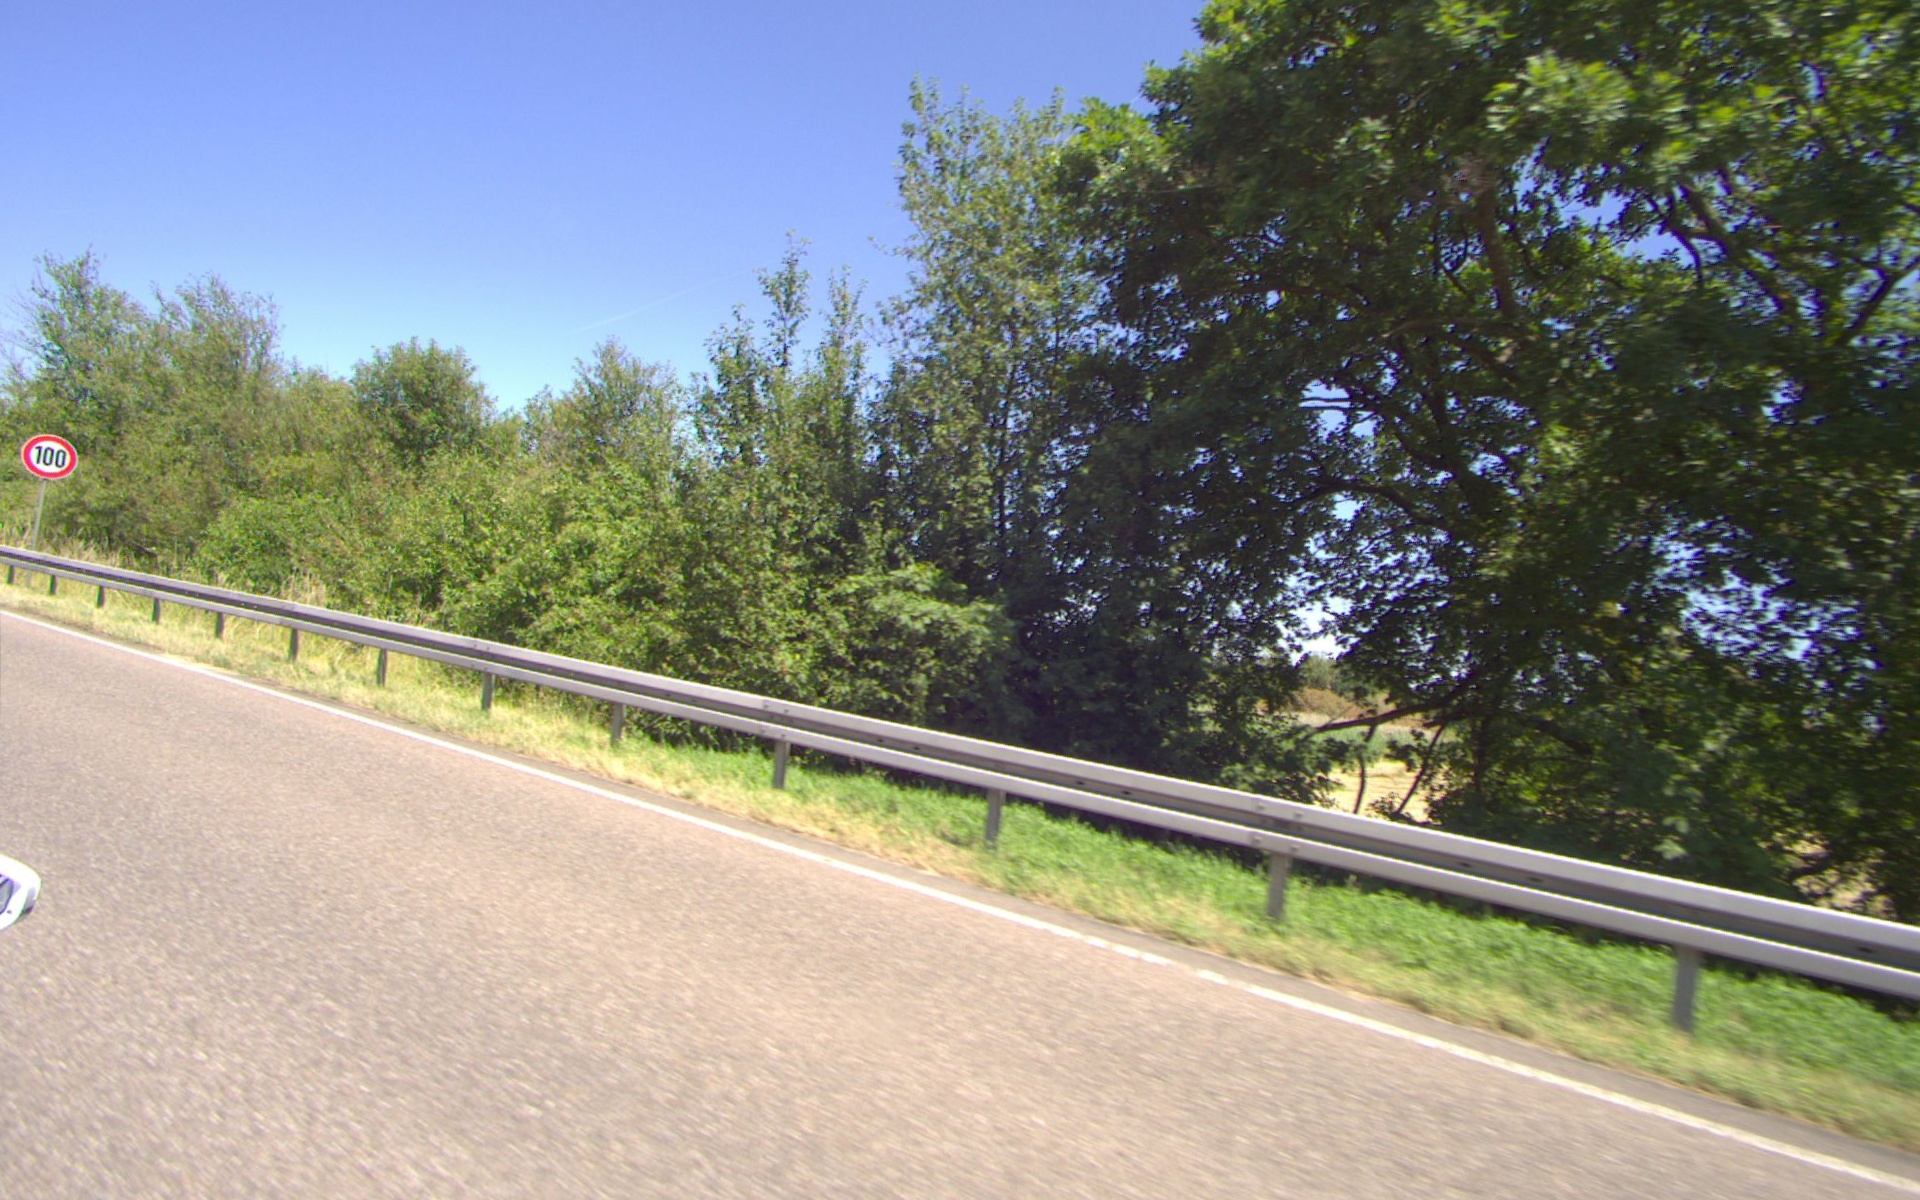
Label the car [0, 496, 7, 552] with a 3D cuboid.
[{"bbox_3d":[-12.662,-0.649,11.251,3.951,1.571,1.789,7,-1,31],"label":"car"}]

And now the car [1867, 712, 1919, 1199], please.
[{"bbox_3d":[4.587,1.081,1.040,4.949,2.012,2.010,6,-2,30],"label":"car"}]
